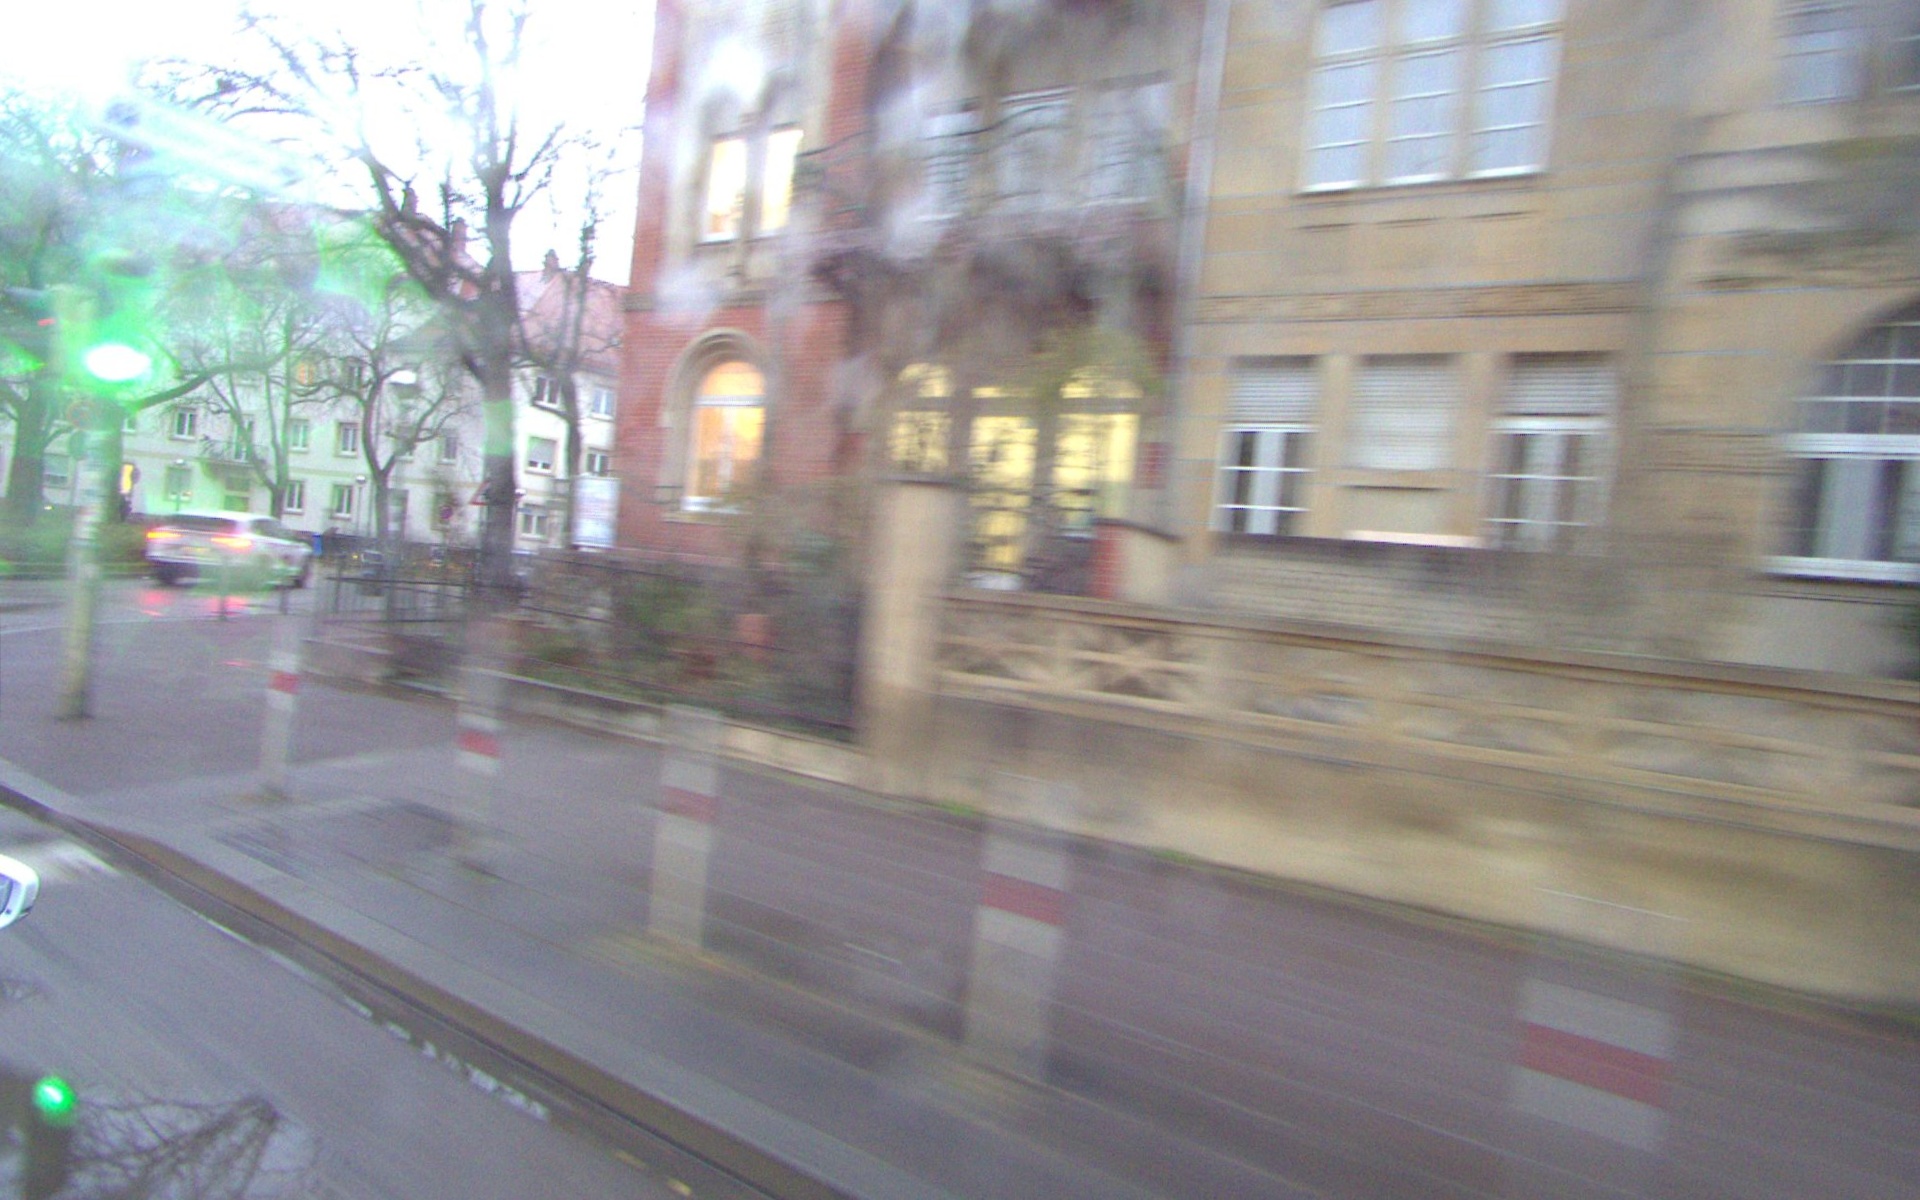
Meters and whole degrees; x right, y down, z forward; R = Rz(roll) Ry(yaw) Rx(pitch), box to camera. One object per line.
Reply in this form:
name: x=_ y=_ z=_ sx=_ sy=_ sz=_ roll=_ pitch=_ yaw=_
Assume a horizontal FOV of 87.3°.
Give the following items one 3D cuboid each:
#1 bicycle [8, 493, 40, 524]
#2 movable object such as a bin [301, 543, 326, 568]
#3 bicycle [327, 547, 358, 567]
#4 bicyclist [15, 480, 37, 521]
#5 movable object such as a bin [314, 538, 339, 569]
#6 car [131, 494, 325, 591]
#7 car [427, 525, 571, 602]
bicycle: x=-44.883 y=-4.381 z=48.236 sx=1.881 sy=1.307 sz=0.467 roll=6 pitch=1 yaw=27
movable object such as a bin: x=-28.051 y=-1.912 z=43.651 sx=0.638 sy=0.993 sz=0.528 roll=6 pitch=1 yaw=15
bicycle: x=-27.875 y=-1.946 z=45.395 sx=1.561 sy=0.775 sz=0.339 roll=6 pitch=1 yaw=25
bicyclist: x=-44.722 y=-4.763 z=48.153 sx=0.667 sy=1.910 sz=0.467 roll=6 pitch=1 yaw=27
movable object such as a bin: x=-27.376 y=-2.025 z=43.486 sx=0.638 sy=1.244 sz=0.528 roll=6 pitch=1 yaw=15
car: x=-15.809 y=-1.140 z=22.069 sx=1.872 sy=1.526 sz=4.739 roll=8 pitch=-3 yaw=-17
car: x=-14.475 y=-1.079 z=31.901 sx=1.773 sy=1.747 sz=4.348 roll=7 pitch=-3 yaw=12
